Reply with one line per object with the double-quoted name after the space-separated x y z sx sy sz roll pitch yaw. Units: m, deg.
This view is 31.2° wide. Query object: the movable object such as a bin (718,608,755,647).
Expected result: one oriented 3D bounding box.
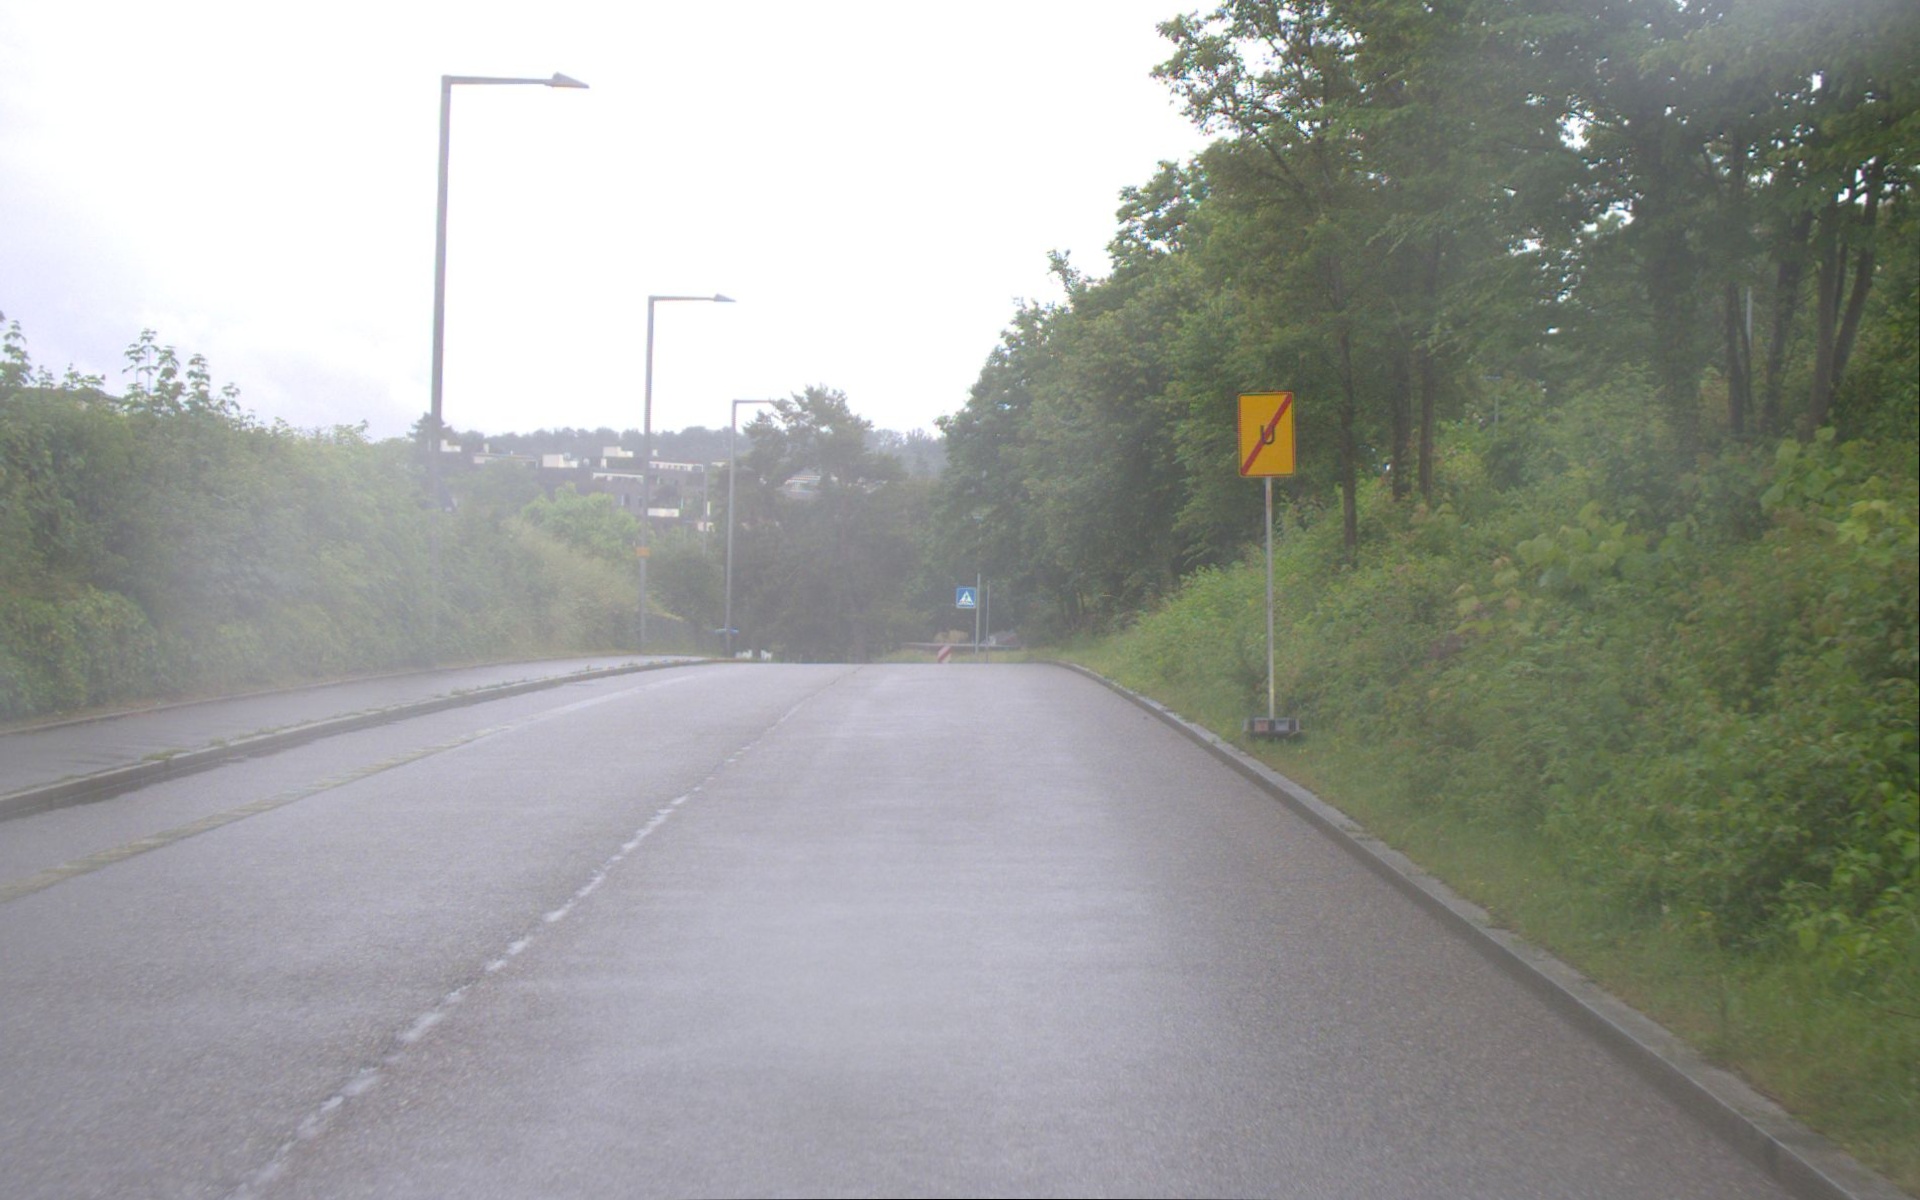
-8.286 1.023 127.442 1.131 1.335 1.399 4 -2 -9 "movable object such as a bin"
